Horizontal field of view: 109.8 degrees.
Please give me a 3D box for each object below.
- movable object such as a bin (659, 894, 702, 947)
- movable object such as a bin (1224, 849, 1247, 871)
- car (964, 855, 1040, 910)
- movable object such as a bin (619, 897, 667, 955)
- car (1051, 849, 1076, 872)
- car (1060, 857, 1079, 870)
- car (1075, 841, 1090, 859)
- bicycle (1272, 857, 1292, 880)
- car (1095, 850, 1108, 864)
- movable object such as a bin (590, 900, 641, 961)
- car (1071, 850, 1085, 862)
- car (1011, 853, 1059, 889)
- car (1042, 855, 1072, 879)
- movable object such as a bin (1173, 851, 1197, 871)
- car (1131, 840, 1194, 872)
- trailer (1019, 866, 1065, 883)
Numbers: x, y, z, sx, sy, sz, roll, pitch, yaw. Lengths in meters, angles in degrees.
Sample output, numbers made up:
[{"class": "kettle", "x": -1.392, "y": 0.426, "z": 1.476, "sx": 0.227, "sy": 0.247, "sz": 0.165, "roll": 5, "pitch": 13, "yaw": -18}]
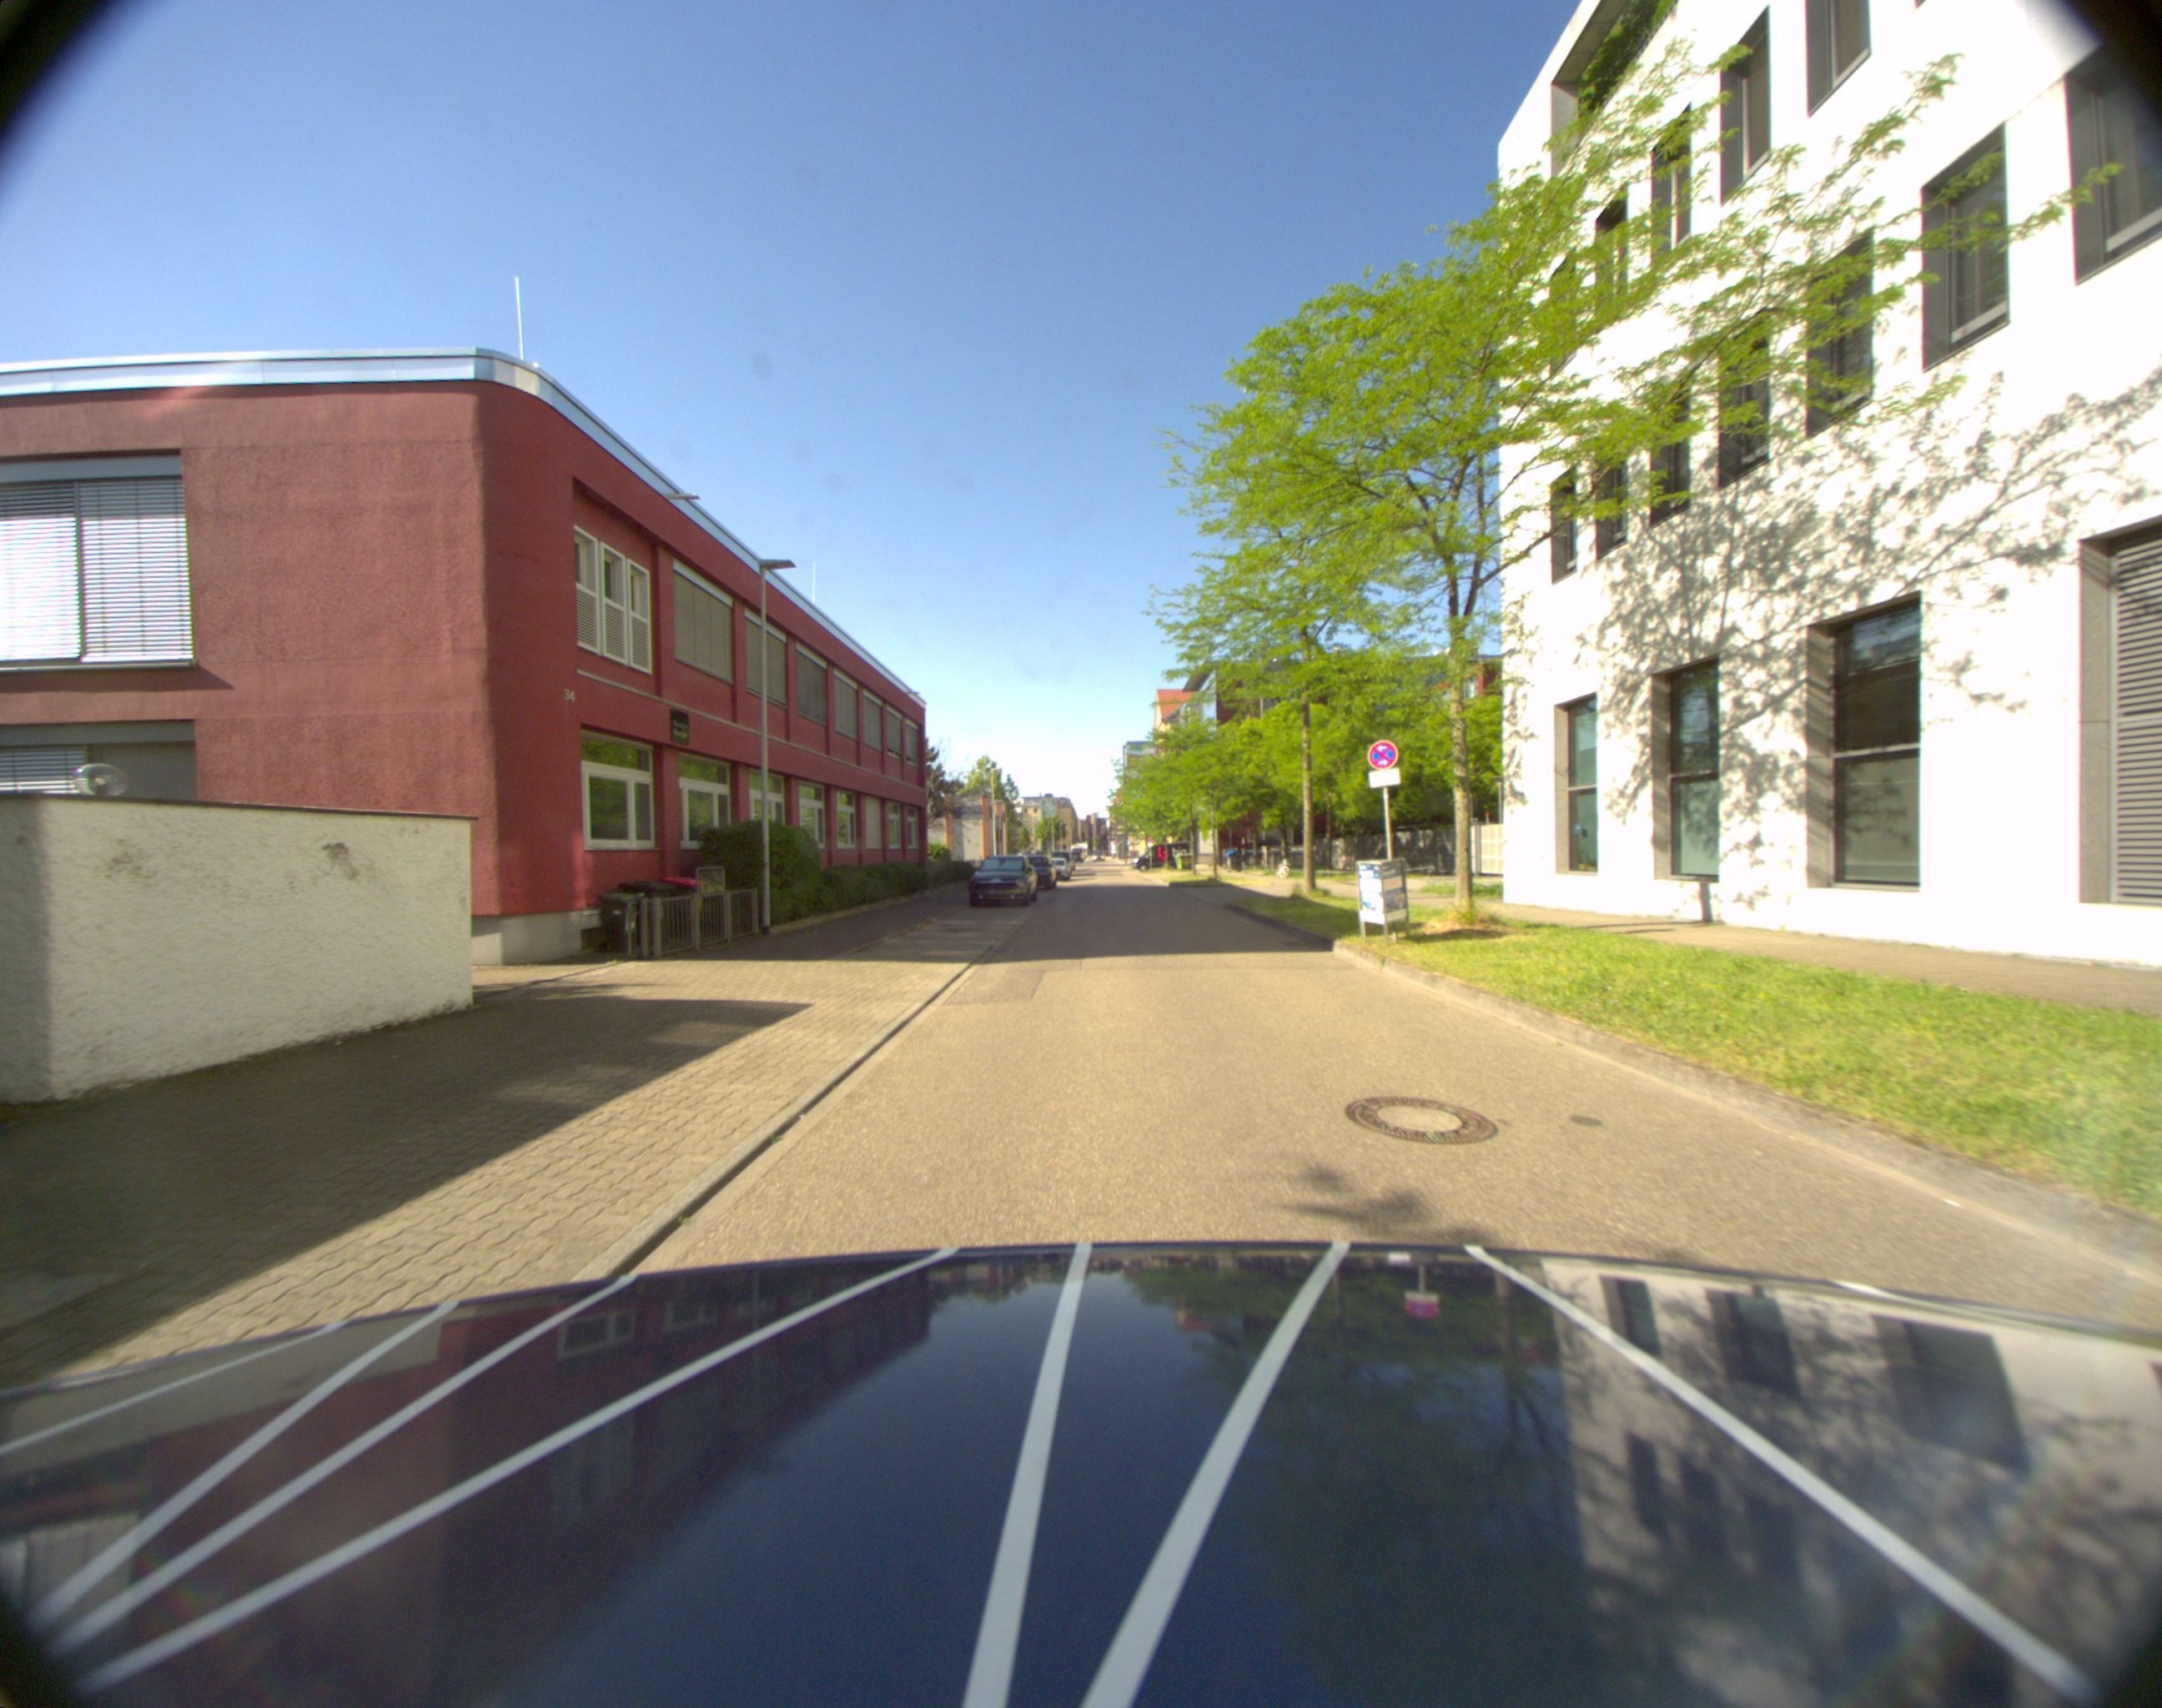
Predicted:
[{"class": "movable object such as a bin", "x": -7.219, "y": 1.192, "z": 13.715, "sx": 0.478, "sy": 0.895, "sz": 0.475, "roll": -2, "pitch": 1, "yaw": 3}, {"class": "movable object such as a bin", "x": 11.086, "y": 0.424, "z": 54.574, "sx": 1.522, "sy": 1.559, "sz": 1.347, "roll": -2, "pitch": 1, "yaw": 6}, {"class": "car", "x": -2.500, "y": 0.856, "z": 25.146, "sx": 1.903, "sy": 1.620, "sz": 4.372, "roll": 0, "pitch": 0, "yaw": 2}, {"class": "movable object such as a bin", "x": -7.342, "y": 1.199, "z": 12.736, "sx": 0.478, "sy": 0.895, "sz": 0.475, "roll": -2, "pitch": 1, "yaw": 3}, {"class": "car", "x": -1.534, "y": 0.561, "z": 67.095, "sx": 1.903, "sy": 1.974, "sz": 4.372, "roll": 0, "pitch": 0, "yaw": 2}, {"class": "car", "x": -1.239, "y": 1.033, "z": 82.437, "sx": 1.777, "sy": 1.281, "sz": 4.096, "roll": 0, "pitch": 0, "yaw": 2}, {"class": "car", "x": 0.328, "y": -0.925, "z": 168.481, "sx": 2.913, "sy": 3.920, "sz": 6.326, "roll": 0, "pitch": 0, "yaw": 3}, {"class": "bicycle", "x": 10.806, "y": 0.748, "z": 40.905, "sx": 0.602, "sy": 1.185, "sz": 1.728, "roll": -2, "pitch": 0, "yaw": 2}, {"class": "car", "x": 3.014, "y": 0.447, "z": 111.762, "sx": 1.903, "sy": 1.974, "sz": 4.372, "roll": 0, "pitch": 0, "yaw": 2}, {"class": "movable object such as a bin", "x": -7.370, "y": 1.202, "z": 12.038, "sx": 0.478, "sy": 0.895, "sz": 0.475, "roll": -2, "pitch": 1, "yaw": 3}, {"class": "car", "x": -0.425, "y": 0.252, "z": 108.583, "sx": 1.903, "sy": 1.585, "sz": 4.372, "roll": 0, "pitch": 0, "yaw": 2}, {"class": "car", "x": -2.163, "y": 0.778, "z": 36.626, "sx": 1.878, "sy": 1.620, "sz": 4.407, "roll": 0, "pitch": 0, "yaw": 2}, {"class": "car", "x": -1.573, "y": 0.825, "z": 50.351, "sx": 1.699, "sy": 1.448, "sz": 3.890, "roll": 0, "pitch": 0, "yaw": 2}, {"class": "movable object such as a bin", "x": 8.298, "y": 0.534, "z": 60.756, "sx": 1.524, "sy": 1.559, "sz": 1.345, "roll": -2, "pitch": 1, "yaw": -8}, {"class": "car", "x": 7.440, "y": 0.186, "z": 69.931, "sx": 5.489, "sy": 2.526, "sz": 1.986, "roll": -3, "pitch": 1, "yaw": 1}, {"class": "trailer", "x": -2.399, "y": 1.261, "z": 47.198, "sx": 1.563, "sy": 0.922, "sz": 2.987, "roll": 0, "pitch": 0, "yaw": 28}]
